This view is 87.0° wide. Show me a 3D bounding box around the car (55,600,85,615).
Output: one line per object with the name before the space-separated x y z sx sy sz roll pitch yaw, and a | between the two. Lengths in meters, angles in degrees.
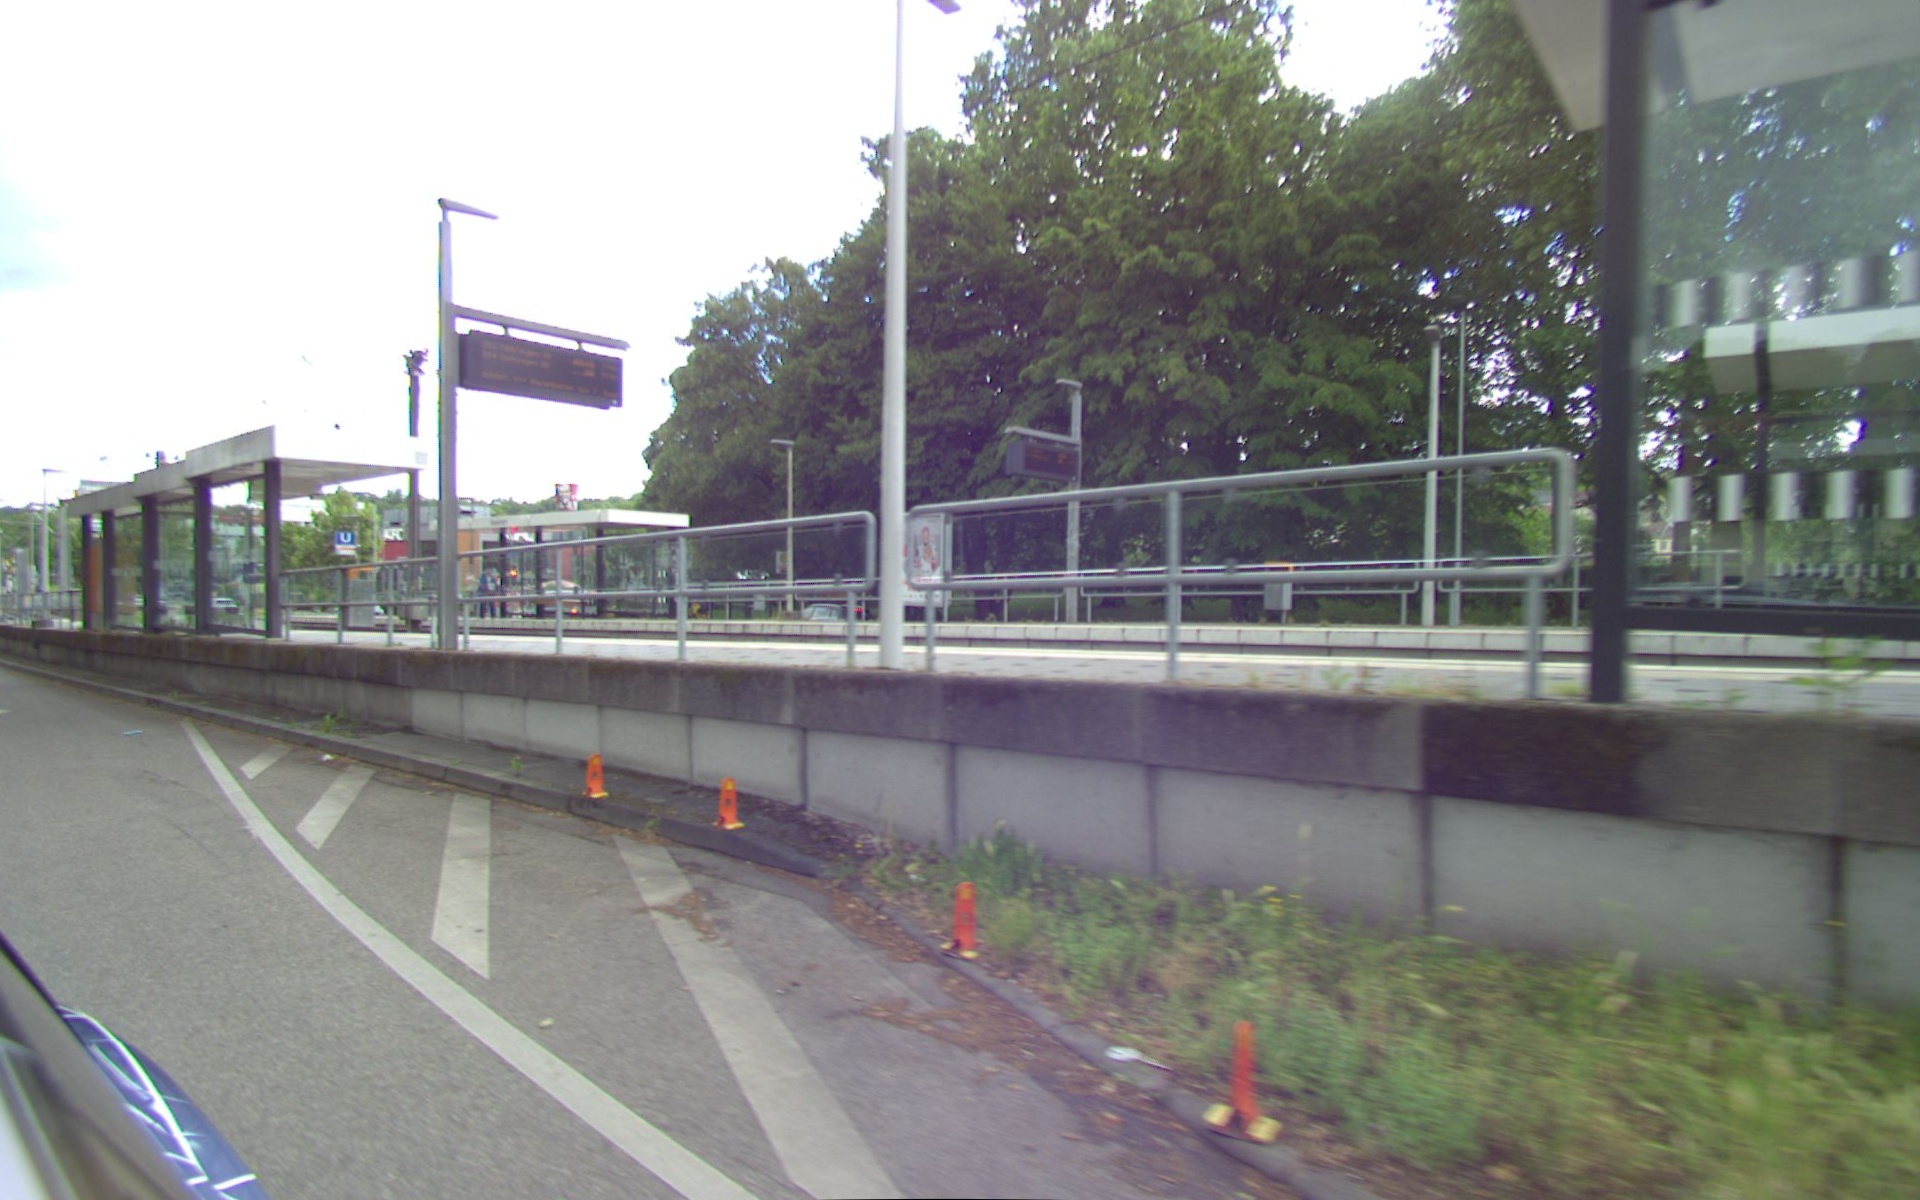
car | -92.273 0.750 104.922 4.047 1.457 1.580 1 0 37

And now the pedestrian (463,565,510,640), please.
pedestrian | -14.312 0.063 30.595 0.976 2.202 0.959 0 1 42

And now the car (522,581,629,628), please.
car | -15.359 0.130 40.364 4.621 1.687 1.974 1 3 40

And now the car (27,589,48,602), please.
car | -147.884 -0.765 162.258 4.103 2.029 1.974 1 1 40

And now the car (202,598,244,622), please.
car | -57.879 0.745 79.426 4.397 1.764 1.692 1 0 41

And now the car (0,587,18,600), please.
car | -148.486 -1.078 157.557 4.879 2.029 1.975 1 0 38

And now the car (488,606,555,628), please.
car | -29.964 1.142 69.184 3.828 1.418 1.851 0 1 -38
